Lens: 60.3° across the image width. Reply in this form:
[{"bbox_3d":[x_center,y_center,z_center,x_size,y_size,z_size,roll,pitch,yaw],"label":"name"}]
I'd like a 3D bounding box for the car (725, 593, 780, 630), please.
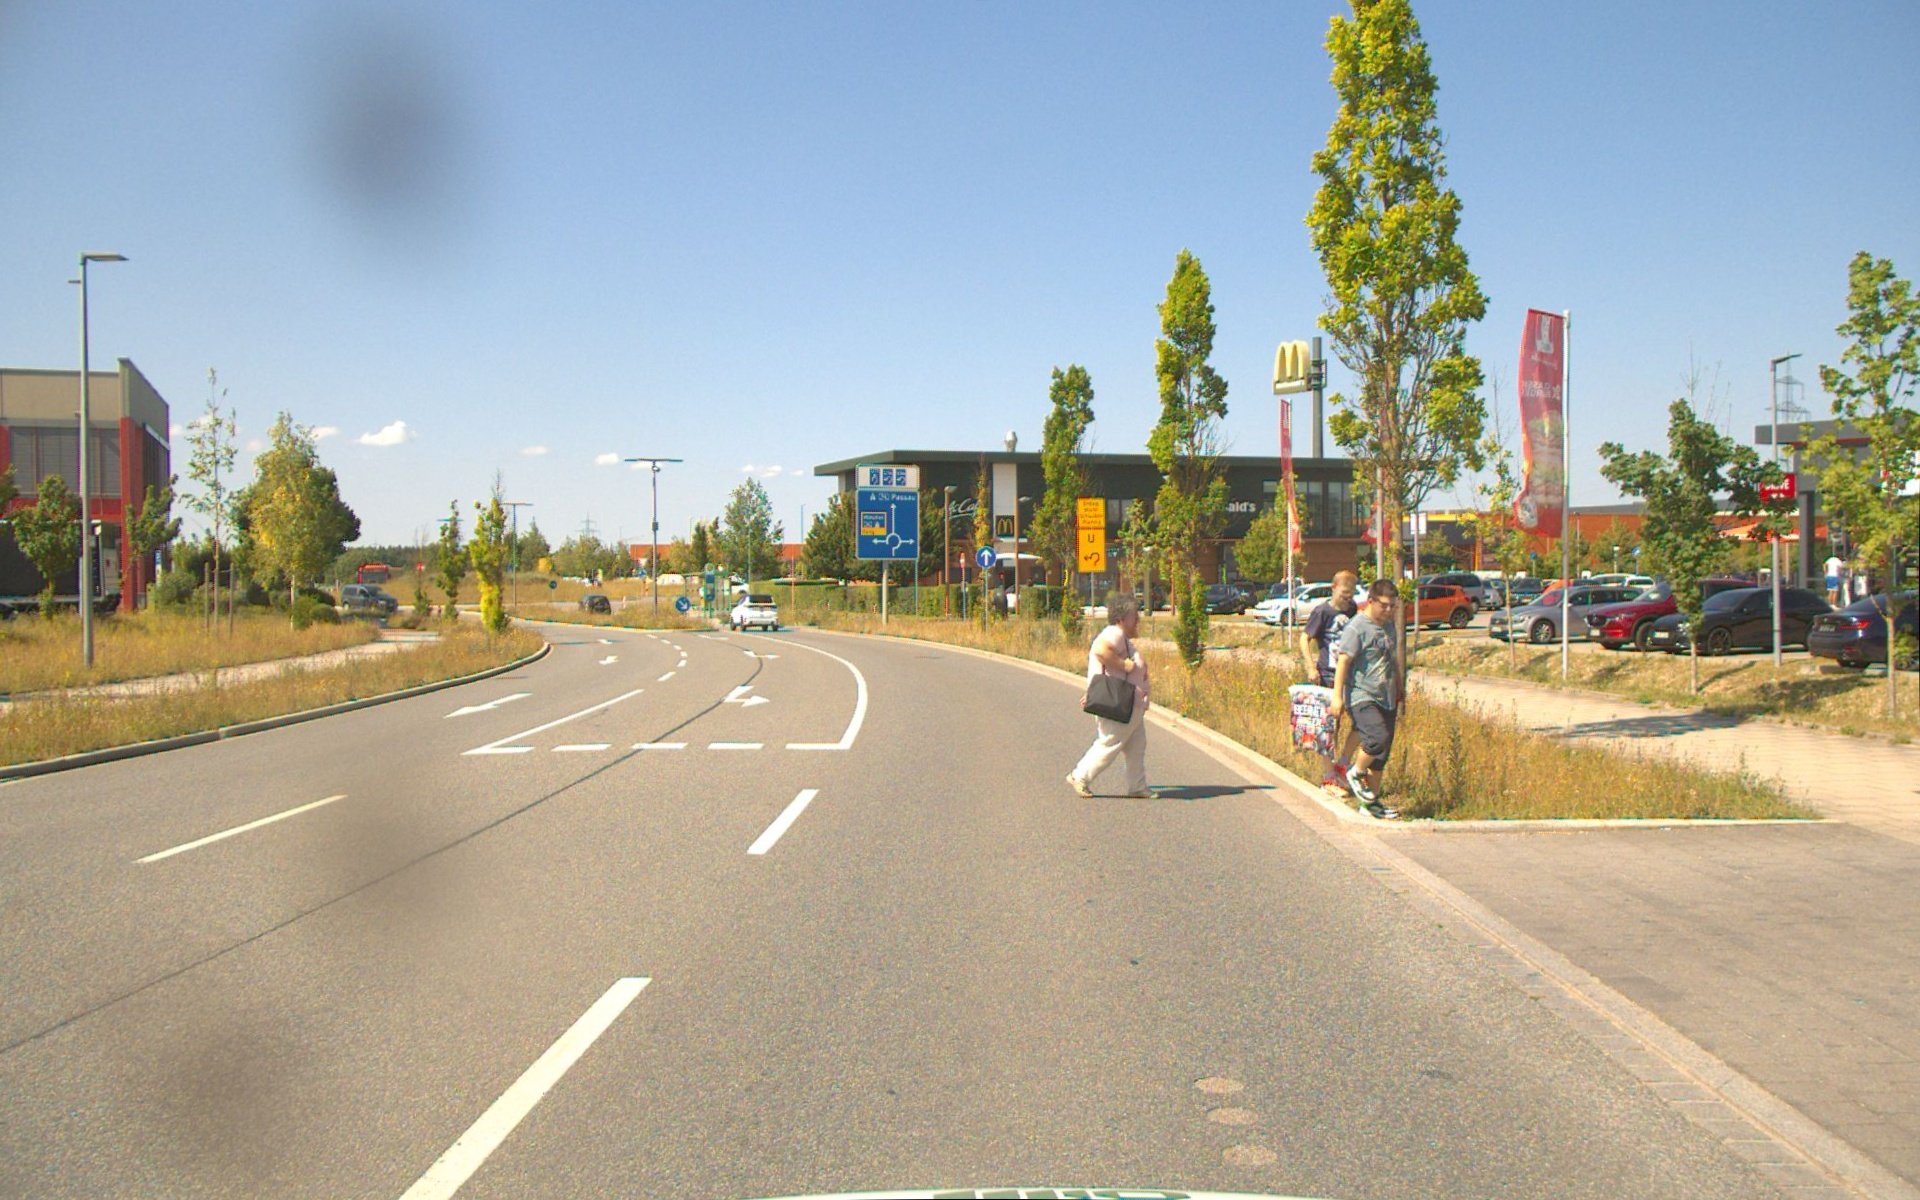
[{"bbox_3d":[-8.559,0.452,67.919,1.591,1.459,3.773,-1,0,-18],"label":"car"}]

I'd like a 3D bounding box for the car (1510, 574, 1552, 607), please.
[{"bbox_3d":[27.203,-0.476,78.757,1.748,1.476,4.170,-1,1,20],"label":"car"}]

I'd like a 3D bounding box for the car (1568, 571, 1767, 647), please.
[{"bbox_3d":[17.173,0.188,40.226,4.076,1.694,1.866,-2,1,-8],"label":"car"}]

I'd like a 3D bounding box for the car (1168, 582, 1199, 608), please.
[{"bbox_3d":[13.151,-0.333,97.220,1.754,1.459,4.004,-1,0,8],"label":"car"}]

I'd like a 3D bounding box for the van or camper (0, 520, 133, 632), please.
[{"bbox_3d":[-30.949,-0.758,52.995,7.570,3.529,2.544,-1,0,-17],"label":"van or camper"}]

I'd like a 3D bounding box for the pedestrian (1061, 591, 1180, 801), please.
[{"bbox_3d":[1.171,0.682,12.242,0.776,1.496,0.949,0,0,-1],"label":"pedestrian"}]

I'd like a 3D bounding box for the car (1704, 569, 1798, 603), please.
[{"bbox_3d":[38.598,-0.680,80.786,4.073,1.549,1.790,-1,0,25],"label":"car"}]

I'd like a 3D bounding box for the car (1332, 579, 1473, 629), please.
[{"bbox_3d":[14.593,0.113,54.613,4.135,1.516,1.861,-1,1,-16],"label":"car"}]

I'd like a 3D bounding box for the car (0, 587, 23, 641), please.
[{"bbox_3d":[-30.152,0.423,48.516,4.299,1.579,1.829,-1,0,-18],"label":"car"}]

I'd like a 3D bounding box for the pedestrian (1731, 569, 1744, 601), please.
[{"bbox_3d":[30.962,-0.613,65.887,0.374,1.262,0.290,-1,0,-24],"label":"pedestrian"}]

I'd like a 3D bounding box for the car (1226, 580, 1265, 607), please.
[{"bbox_3d":[16.992,-0.404,98.317,1.755,1.539,4.002,-1,0,18],"label":"car"}]

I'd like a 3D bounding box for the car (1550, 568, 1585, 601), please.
[{"bbox_3d":[33.805,-0.881,92.009,1.748,1.788,4.170,-1,0,20],"label":"car"}]

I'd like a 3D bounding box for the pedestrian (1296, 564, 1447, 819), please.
[{"bbox_3d":[2.757,0.590,11.154,0.792,1.657,0.866,0,0,-1],"label":"pedestrian"}]

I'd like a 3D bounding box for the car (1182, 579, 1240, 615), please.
[{"bbox_3d":[10.997,-0.137,72.354,1.662,1.487,4.170,-1,1,20],"label":"car"}]

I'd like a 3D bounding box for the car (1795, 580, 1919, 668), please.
[{"bbox_3d":[17.780,0.392,30.021,4.314,1.474,1.792,-1,1,3],"label":"car"}]

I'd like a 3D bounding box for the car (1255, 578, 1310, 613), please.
[{"bbox_3d":[14.417,-0.220,73.753,1.748,1.487,4.170,-1,1,20],"label":"car"}]

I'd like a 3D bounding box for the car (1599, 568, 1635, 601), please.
[{"bbox_3d":[37.105,-0.900,93.442,1.748,1.788,4.170,-1,0,20],"label":"car"}]

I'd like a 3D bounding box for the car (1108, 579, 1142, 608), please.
[{"bbox_3d":[9.644,-0.384,96.488,1.754,1.632,4.004,-1,0,8],"label":"car"}]

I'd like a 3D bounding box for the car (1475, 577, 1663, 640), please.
[{"bbox_3d":[16.492,0.209,44.865,4.475,1.516,1.863,-2,1,-12],"label":"car"}]

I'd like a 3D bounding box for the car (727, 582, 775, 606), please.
[{"bbox_3d":[-18.215,-0.566,144.139,3.904,2.049,1.835,-1,0,1],"label":"car"}]

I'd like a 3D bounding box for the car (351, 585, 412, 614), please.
[{"bbox_3d":[-39.510,-0.016,112.942,4.343,1.825,1.948,-1,1,40],"label":"car"}]

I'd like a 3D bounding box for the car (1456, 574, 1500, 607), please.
[{"bbox_3d":[24.400,-0.457,77.784,1.748,1.476,4.170,-1,1,20],"label":"car"}]

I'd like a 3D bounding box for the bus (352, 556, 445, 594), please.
[{"bbox_3d":[-51.983,-2.381,153.599,2.727,3.132,12.217,-1,3,9],"label":"bus"}]

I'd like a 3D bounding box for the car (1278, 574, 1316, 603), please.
[{"bbox_3d":[20.434,-0.716,100.273,1.755,1.731,4.002,-1,0,19],"label":"car"}]

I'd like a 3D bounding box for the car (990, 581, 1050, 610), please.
[{"bbox_3d":[3.224,-0.244,89.629,1.768,1.459,3.973,-1,0,-22],"label":"car"}]

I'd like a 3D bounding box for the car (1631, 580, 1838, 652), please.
[{"bbox_3d":[17.674,0.334,37.792,4.083,1.474,1.785,-2,1,-14],"label":"car"}]

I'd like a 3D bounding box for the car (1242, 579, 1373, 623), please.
[{"bbox_3d":[13.013,0.017,61.945,4.451,1.516,1.861,-1,1,-16],"label":"car"}]

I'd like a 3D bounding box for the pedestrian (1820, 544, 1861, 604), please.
[{"bbox_3d":[30.299,-0.891,56.918,0.899,2.049,0.886,-1,0,-19],"label":"pedestrian"}]

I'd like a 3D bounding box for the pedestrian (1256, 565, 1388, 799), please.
[{"bbox_3d":[2.637,0.582,12.131,0.784,1.658,0.804,0,0,-1],"label":"pedestrian"}]

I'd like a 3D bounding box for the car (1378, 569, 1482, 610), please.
[{"bbox_3d":[20.236,-0.472,71.210,4.100,1.664,1.778,-1,0,-24],"label":"car"}]

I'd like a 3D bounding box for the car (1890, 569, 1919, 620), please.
[{"bbox_3d":[30.214,-0.227,49.468,4.493,1.456,1.856,-2,1,-23],"label":"car"}]

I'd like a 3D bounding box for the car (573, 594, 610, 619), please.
[{"bbox_3d":[-22.468,0.384,100.710,1.594,1.459,3.766,-1,0,-22],"label":"car"}]
